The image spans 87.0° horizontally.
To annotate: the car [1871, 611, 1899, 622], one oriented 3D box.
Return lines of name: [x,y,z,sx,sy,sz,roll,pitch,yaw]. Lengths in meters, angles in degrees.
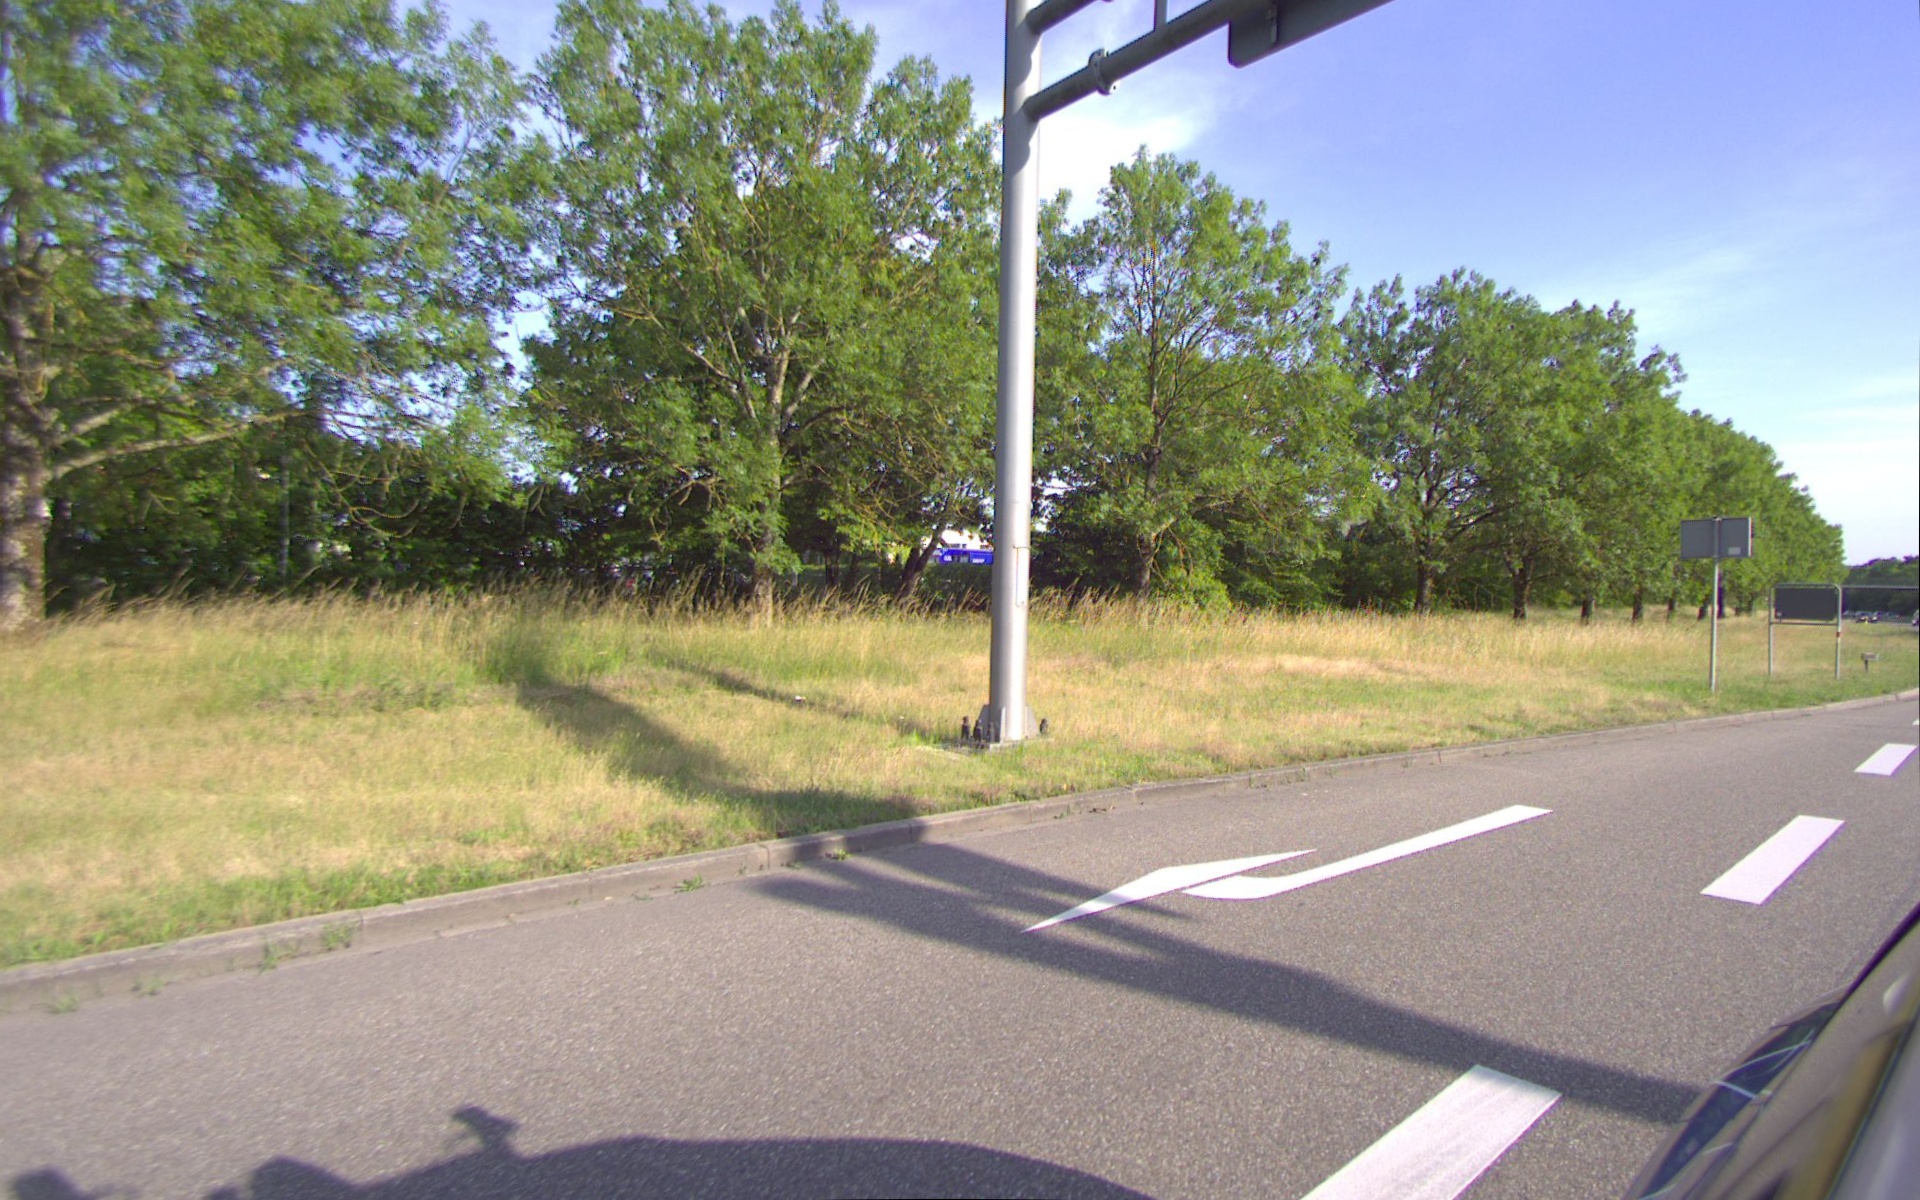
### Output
car: [116.638,2.051,127.642,1.889,1.403,4.302,0,0,34]

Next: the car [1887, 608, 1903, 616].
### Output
car: [170.755,2.132,184.917,1.598,1.459,4.147,0,0,35]
